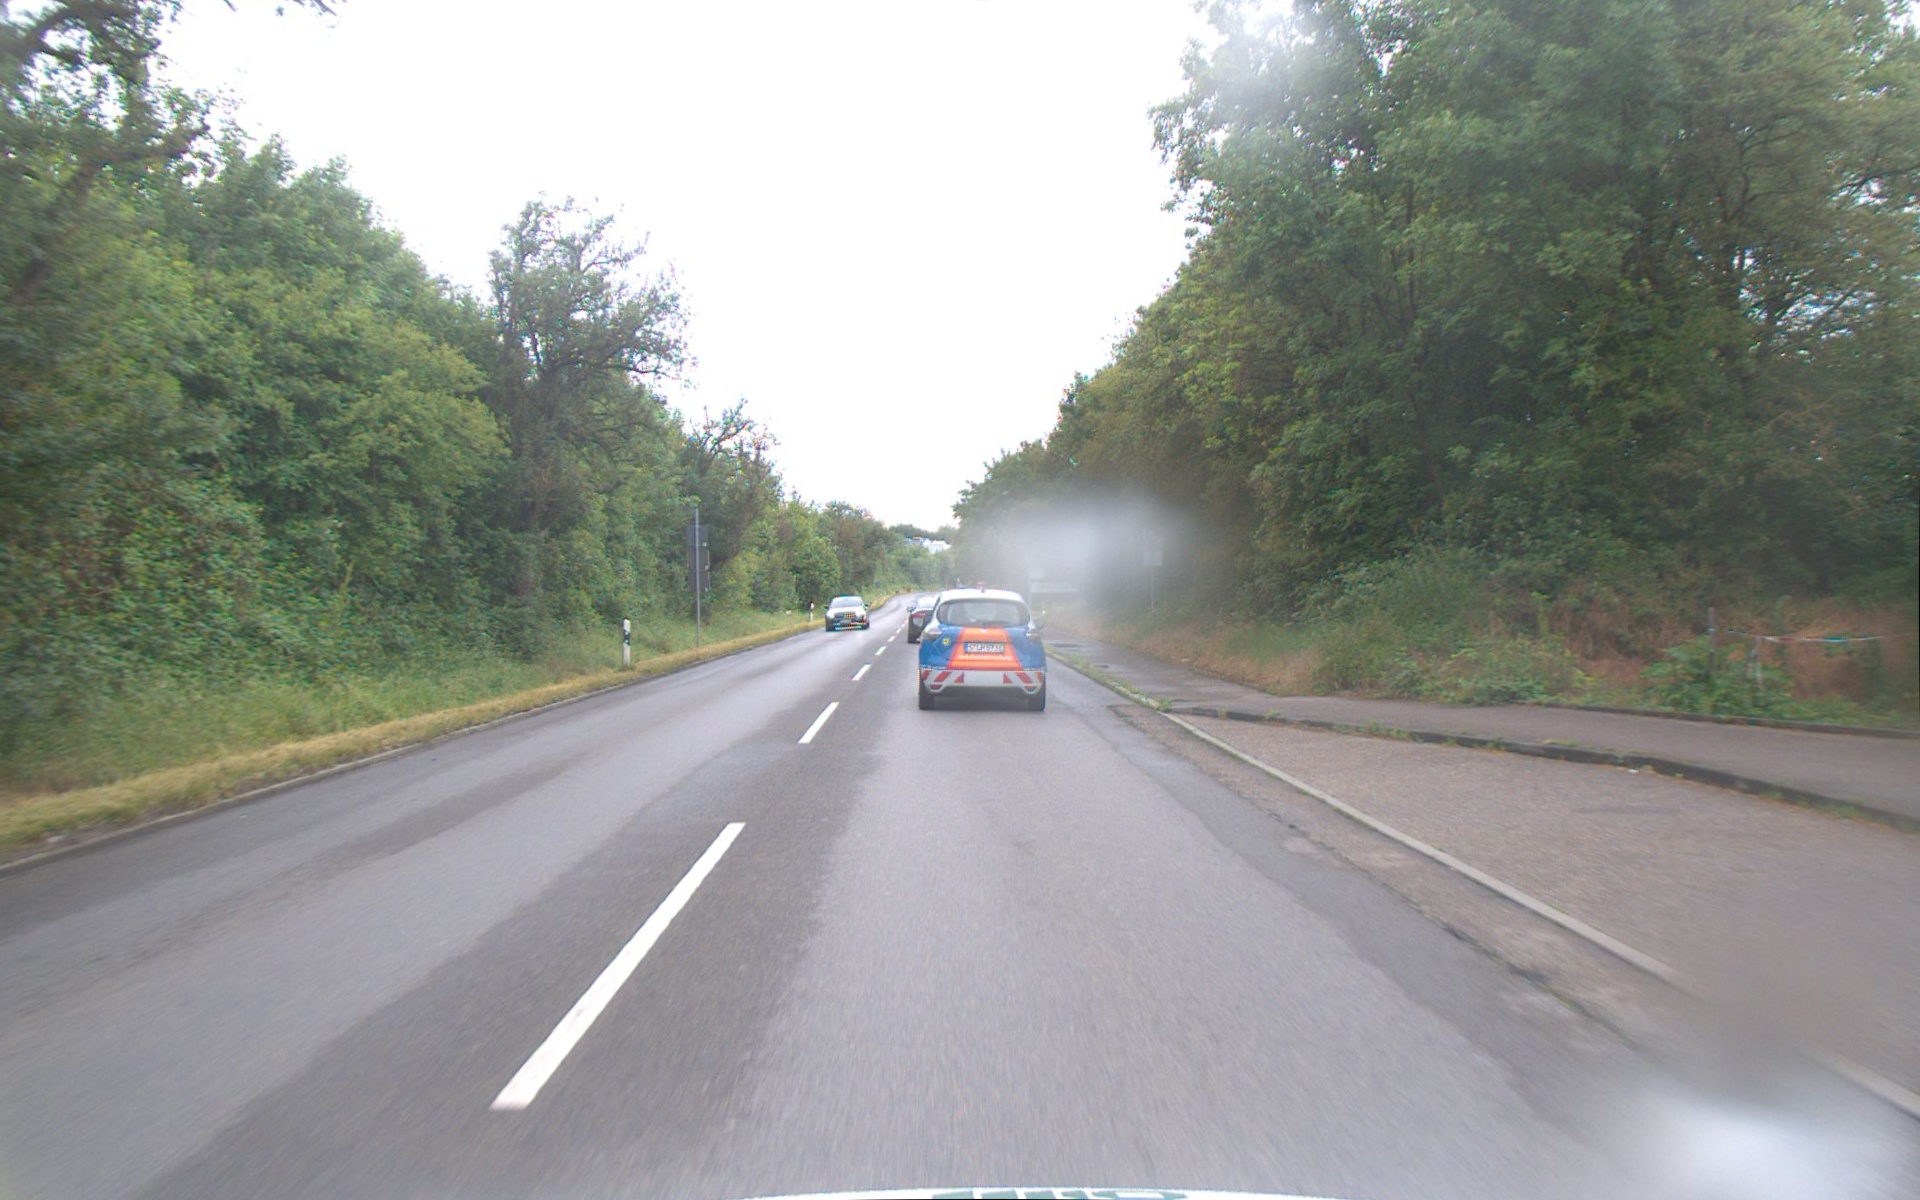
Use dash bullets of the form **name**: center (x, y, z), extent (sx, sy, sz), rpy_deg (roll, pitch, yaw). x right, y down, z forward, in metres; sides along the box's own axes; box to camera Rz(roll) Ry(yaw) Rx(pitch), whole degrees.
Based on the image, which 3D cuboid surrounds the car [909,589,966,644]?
- **car**: center (-0.713, 0.501, 51.542), extent (1.659, 1.623, 3.855), rpy_deg (1, 0, -1)

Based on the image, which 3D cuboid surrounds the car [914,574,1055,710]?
- **car**: center (0.270, 0.543, 22.987), extent (1.769, 1.697, 3.855), rpy_deg (1, 0, -1)

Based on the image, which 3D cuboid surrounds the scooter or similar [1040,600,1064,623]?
- **scooter or similar**: center (4.916, 0.632, 88.751), extent (1.303, 1.227, 0.372), rpy_deg (-1, 0, 40)

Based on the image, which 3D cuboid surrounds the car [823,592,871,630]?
- **car**: center (-5.060, 0.485, 74.355), extent (1.833, 1.515, 4.573), rpy_deg (-4, 0, -1)
